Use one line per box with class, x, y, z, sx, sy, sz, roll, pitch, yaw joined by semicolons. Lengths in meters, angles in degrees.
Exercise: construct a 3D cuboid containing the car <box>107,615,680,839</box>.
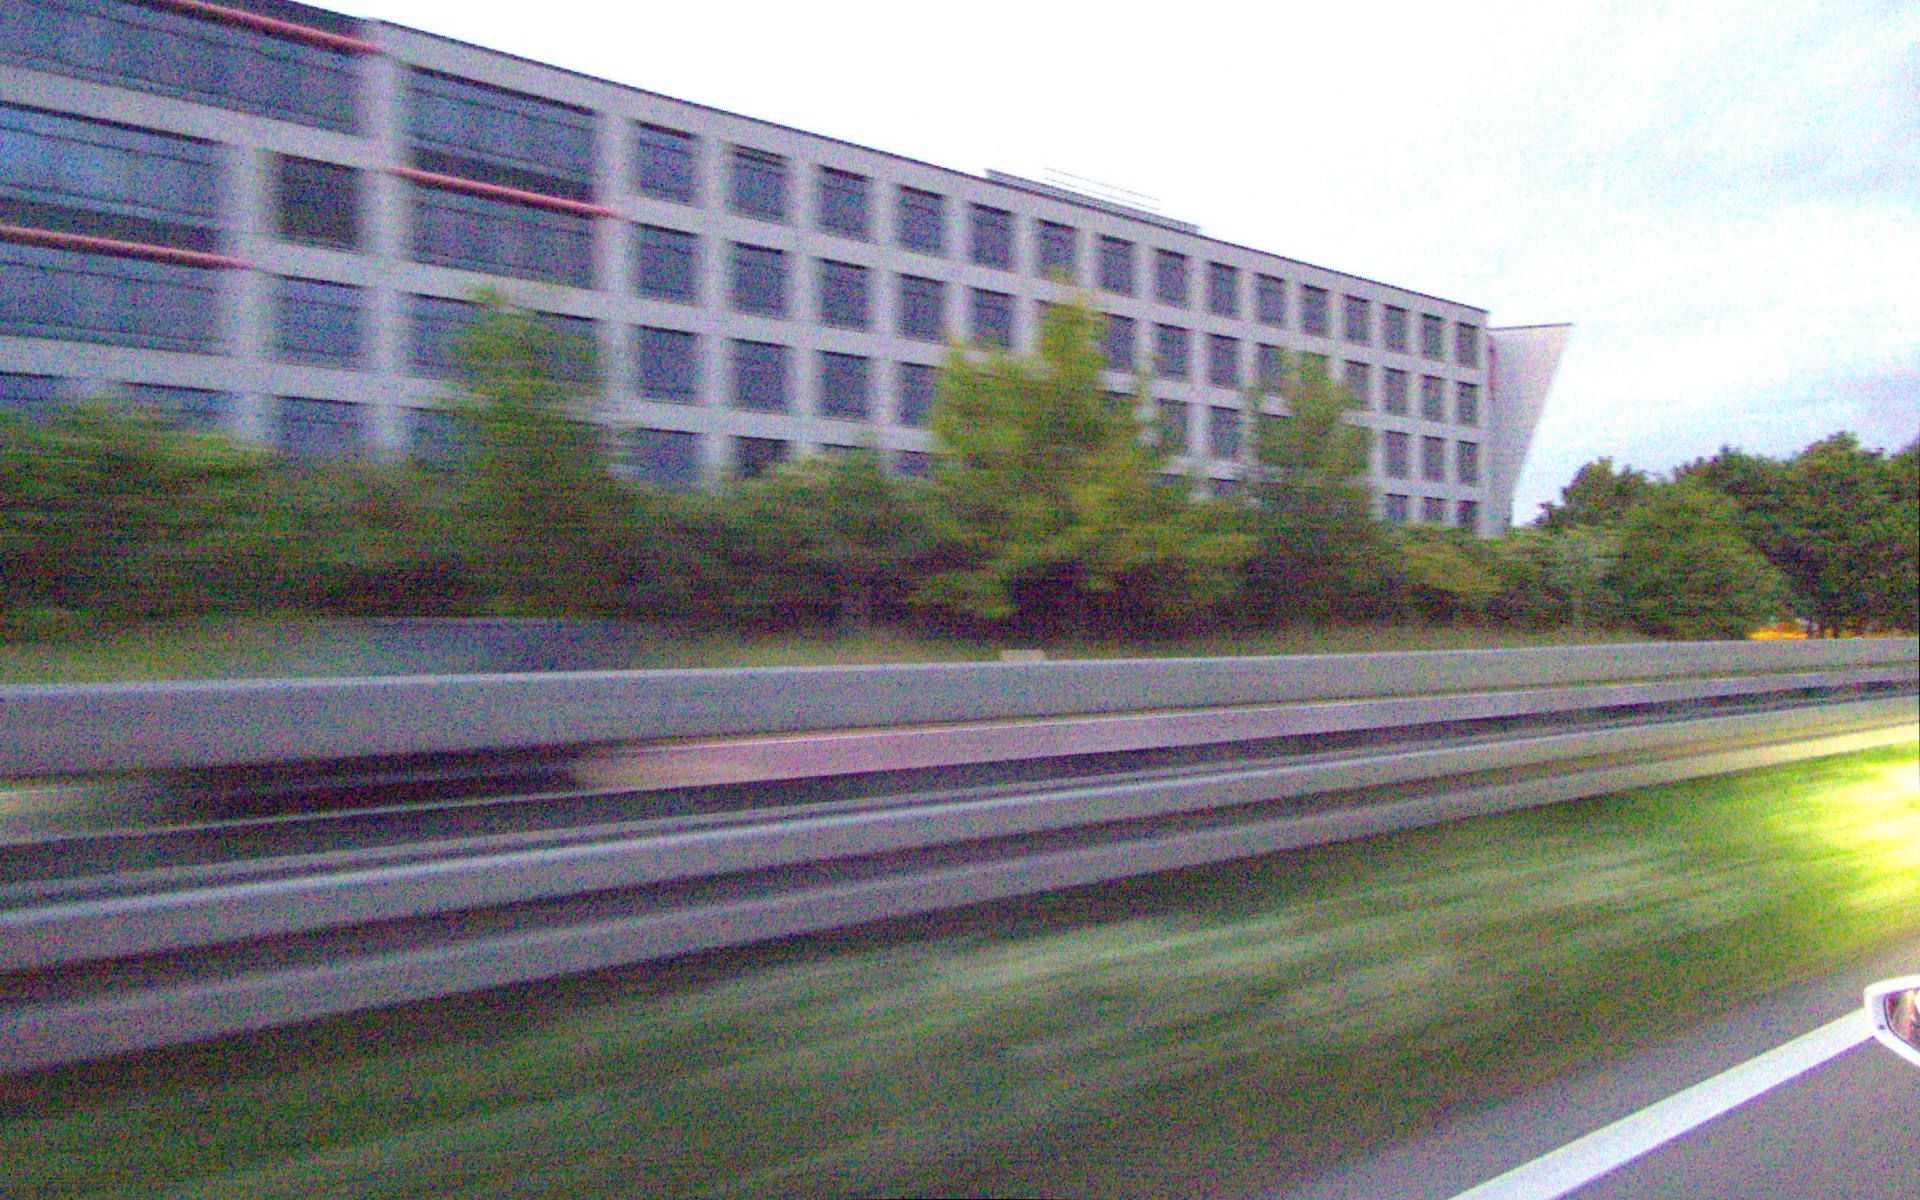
car;-4.502;0.902;8.461;3.801;1.488;1.826;1;-3;-31
